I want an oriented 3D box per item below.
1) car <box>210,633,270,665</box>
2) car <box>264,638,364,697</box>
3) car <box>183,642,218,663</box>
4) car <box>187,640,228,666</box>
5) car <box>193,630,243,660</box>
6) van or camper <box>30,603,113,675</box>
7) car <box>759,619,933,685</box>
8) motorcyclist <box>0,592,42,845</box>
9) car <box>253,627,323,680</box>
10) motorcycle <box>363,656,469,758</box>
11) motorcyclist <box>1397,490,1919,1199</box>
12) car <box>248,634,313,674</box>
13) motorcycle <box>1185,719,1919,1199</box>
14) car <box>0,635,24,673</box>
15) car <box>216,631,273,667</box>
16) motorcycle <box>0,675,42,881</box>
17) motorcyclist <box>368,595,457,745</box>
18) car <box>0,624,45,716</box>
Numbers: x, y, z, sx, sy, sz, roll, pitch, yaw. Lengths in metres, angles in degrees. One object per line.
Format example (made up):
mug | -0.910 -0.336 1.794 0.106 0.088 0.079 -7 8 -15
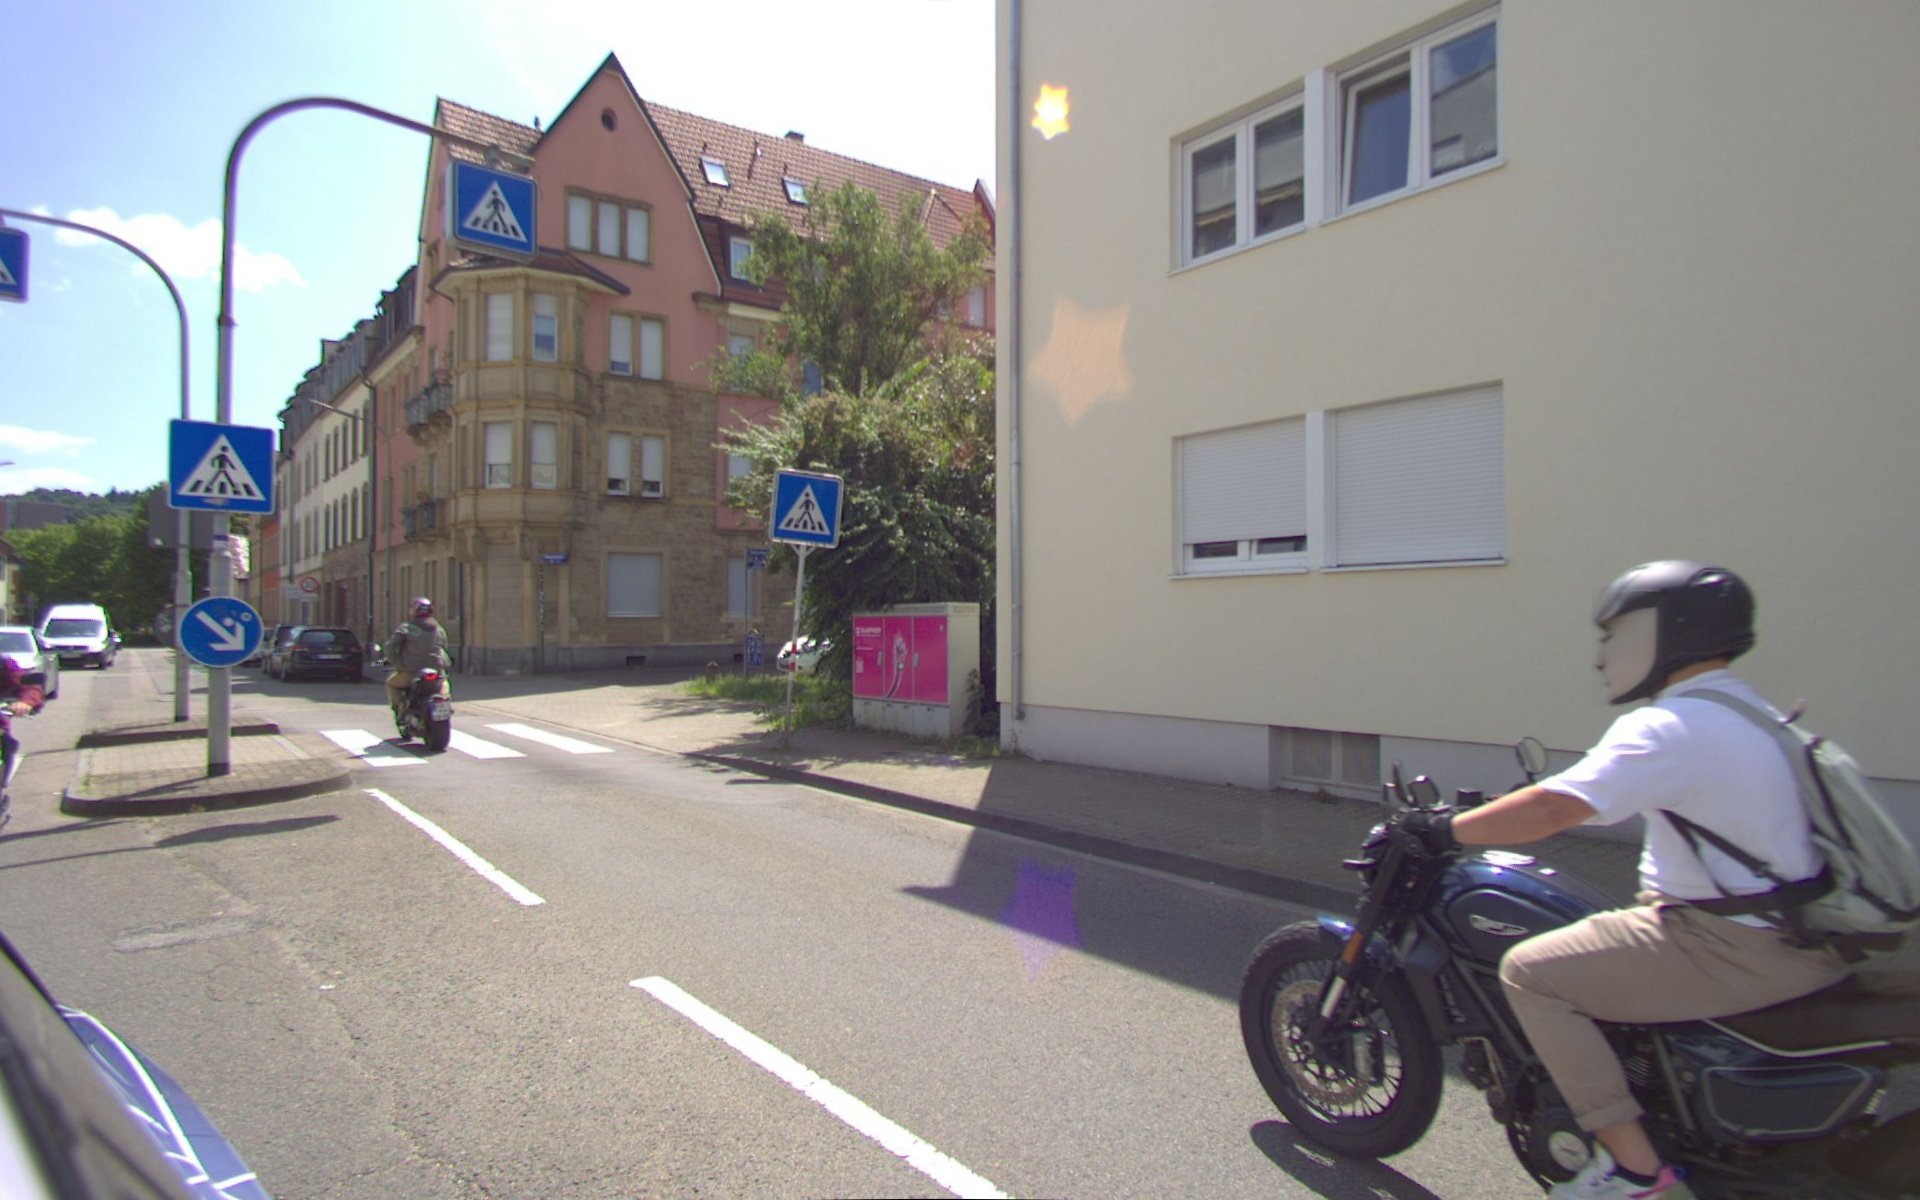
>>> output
car | -33.609 2.267 47.189 1.849 1.449 4.224 2 -3 -41
car | -17.782 1.787 27.755 1.760 1.469 4.643 2 -3 -39
car | -53.083 3.643 70.694 1.706 1.453 3.863 2 -3 -41
car | -45.382 3.203 61.028 1.689 1.470 3.859 4 -4 -40
car | -39.704 2.405 54.114 1.854 1.522 4.388 2 -3 -40
van or camper | -30.708 1.355 35.050 1.969 2.305 5.151 2 -4 -41
car | -2.830 1.260 25.359 3.934 1.514 1.873 0 -2 -36
motorcyclist | -6.040 0.695 6.039 0.781 1.451 1.022 1 -2 -40
car | -20.499 1.617 30.843 1.418 1.534 2.700 2 -3 -40
motorcycle | -6.331 1.179 11.717 0.703 1.036 2.244 3 -3 -37
motorcyclist | 1.682 0.589 2.011 0.905 1.491 1.205 2 -3 -41
car | -25.949 2.060 38.588 1.614 1.442 4.025 4 -4 -39
motorcycle | 1.635 0.931 2.051 0.885 1.185 2.211 2 -2 -41
car | -37.408 2.067 39.152 1.636 1.386 4.244 2 -3 -42
car | -30.226 2.063 42.700 1.578 1.453 3.500 3 -4 -41
motorcycle | -6.085 1.026 6.089 0.748 1.063 1.995 1 -2 -40
motorcyclist | -6.395 0.796 11.802 0.703 1.647 1.071 3 -4 -37
car | -17.569 1.219 18.014 1.785 1.533 4.006 1 -3 -41
